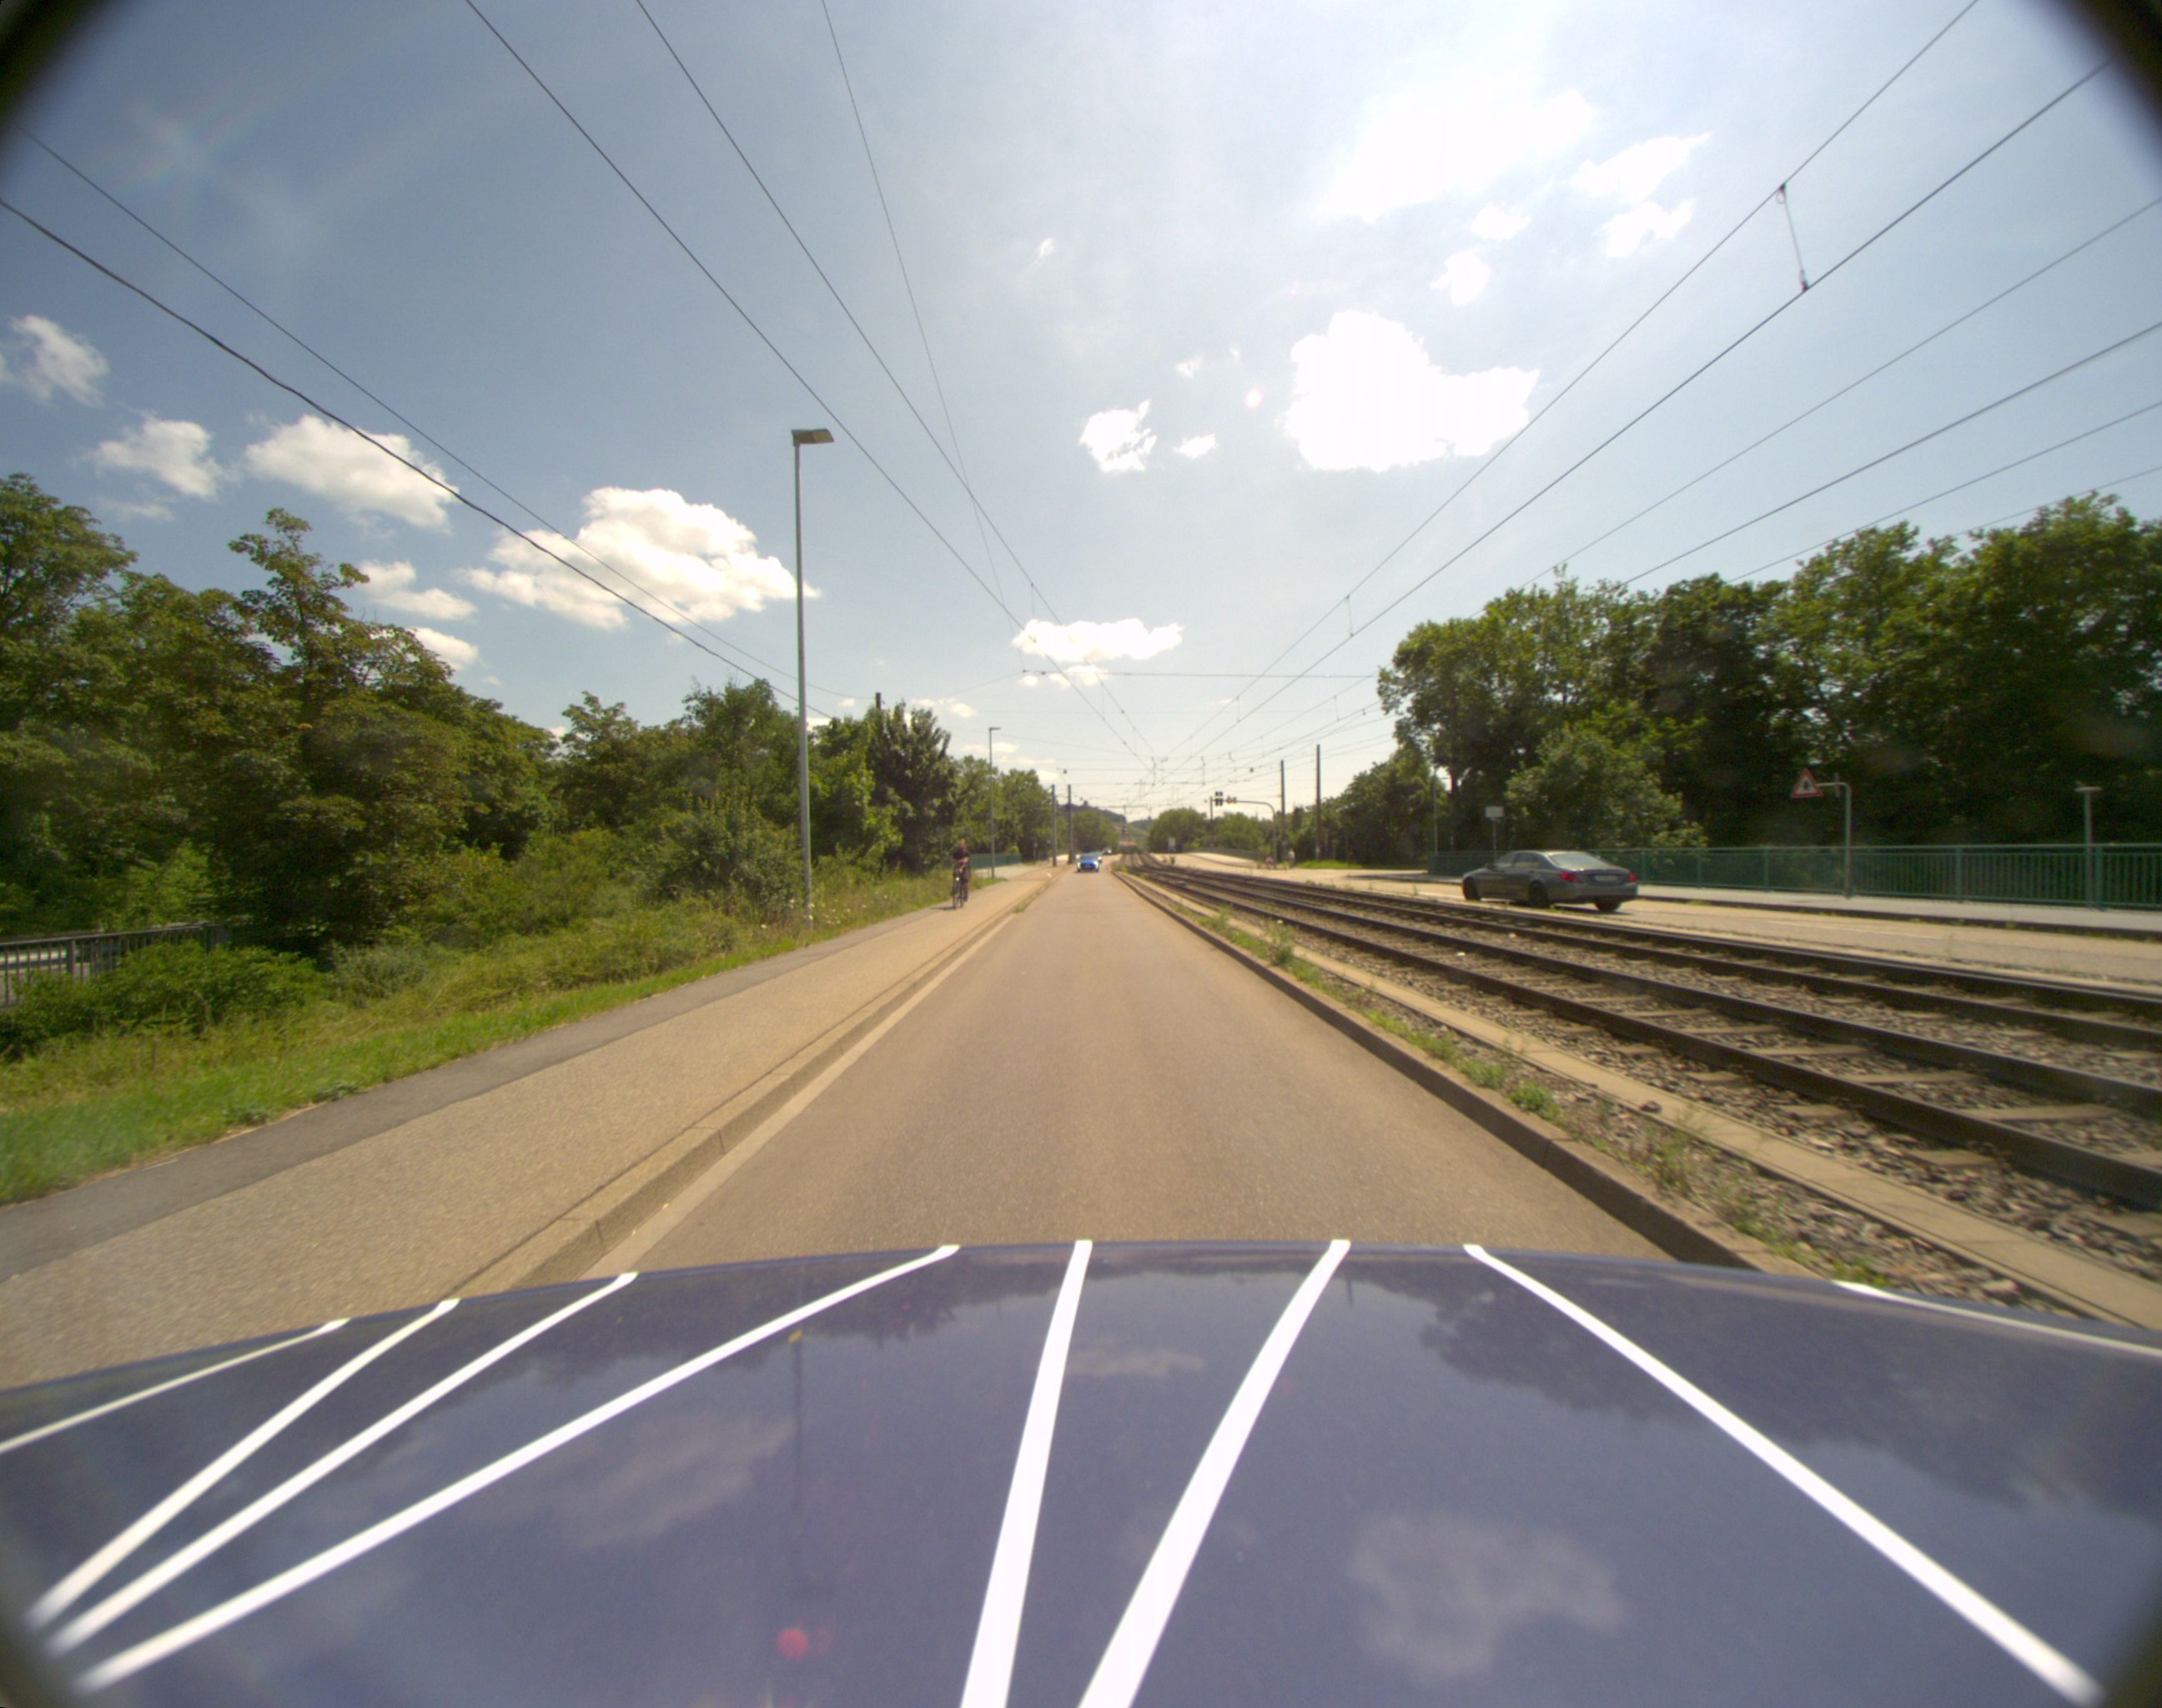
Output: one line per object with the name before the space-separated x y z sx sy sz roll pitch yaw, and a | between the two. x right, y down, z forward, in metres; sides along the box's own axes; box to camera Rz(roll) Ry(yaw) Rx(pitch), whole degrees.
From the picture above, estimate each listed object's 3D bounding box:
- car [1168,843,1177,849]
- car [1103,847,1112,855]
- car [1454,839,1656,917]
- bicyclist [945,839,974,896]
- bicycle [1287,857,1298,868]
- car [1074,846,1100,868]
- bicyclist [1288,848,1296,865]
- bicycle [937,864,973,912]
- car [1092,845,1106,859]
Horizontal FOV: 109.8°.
car | 21.189 -1.875 176.047 1.709 1.501 3.734 0 1 4
car | 5.570 -0.586 161.084 1.730 1.696 4.000 -1 0 1
car | 12.019 0.517 19.823 1.880 1.710 5.329 -1 1 0
bicyclist | -3.213 0.352 20.186 0.586 1.486 0.558 -2 0 5
bicycle | 18.240 0.706 65.576 0.470 0.863 1.743 -1 1 3
car | 0.511 0.278 61.132 1.864 1.630 4.001 -2 -1 3
bicyclist | 18.225 0.191 65.598 0.457 1.465 0.633 -1 1 3
bicycle | -3.241 0.857 19.715 0.433 1.145 1.856 -2 -1 5
car | 2.373 -0.258 100.923 1.683 1.737 3.686 -2 -1 1
